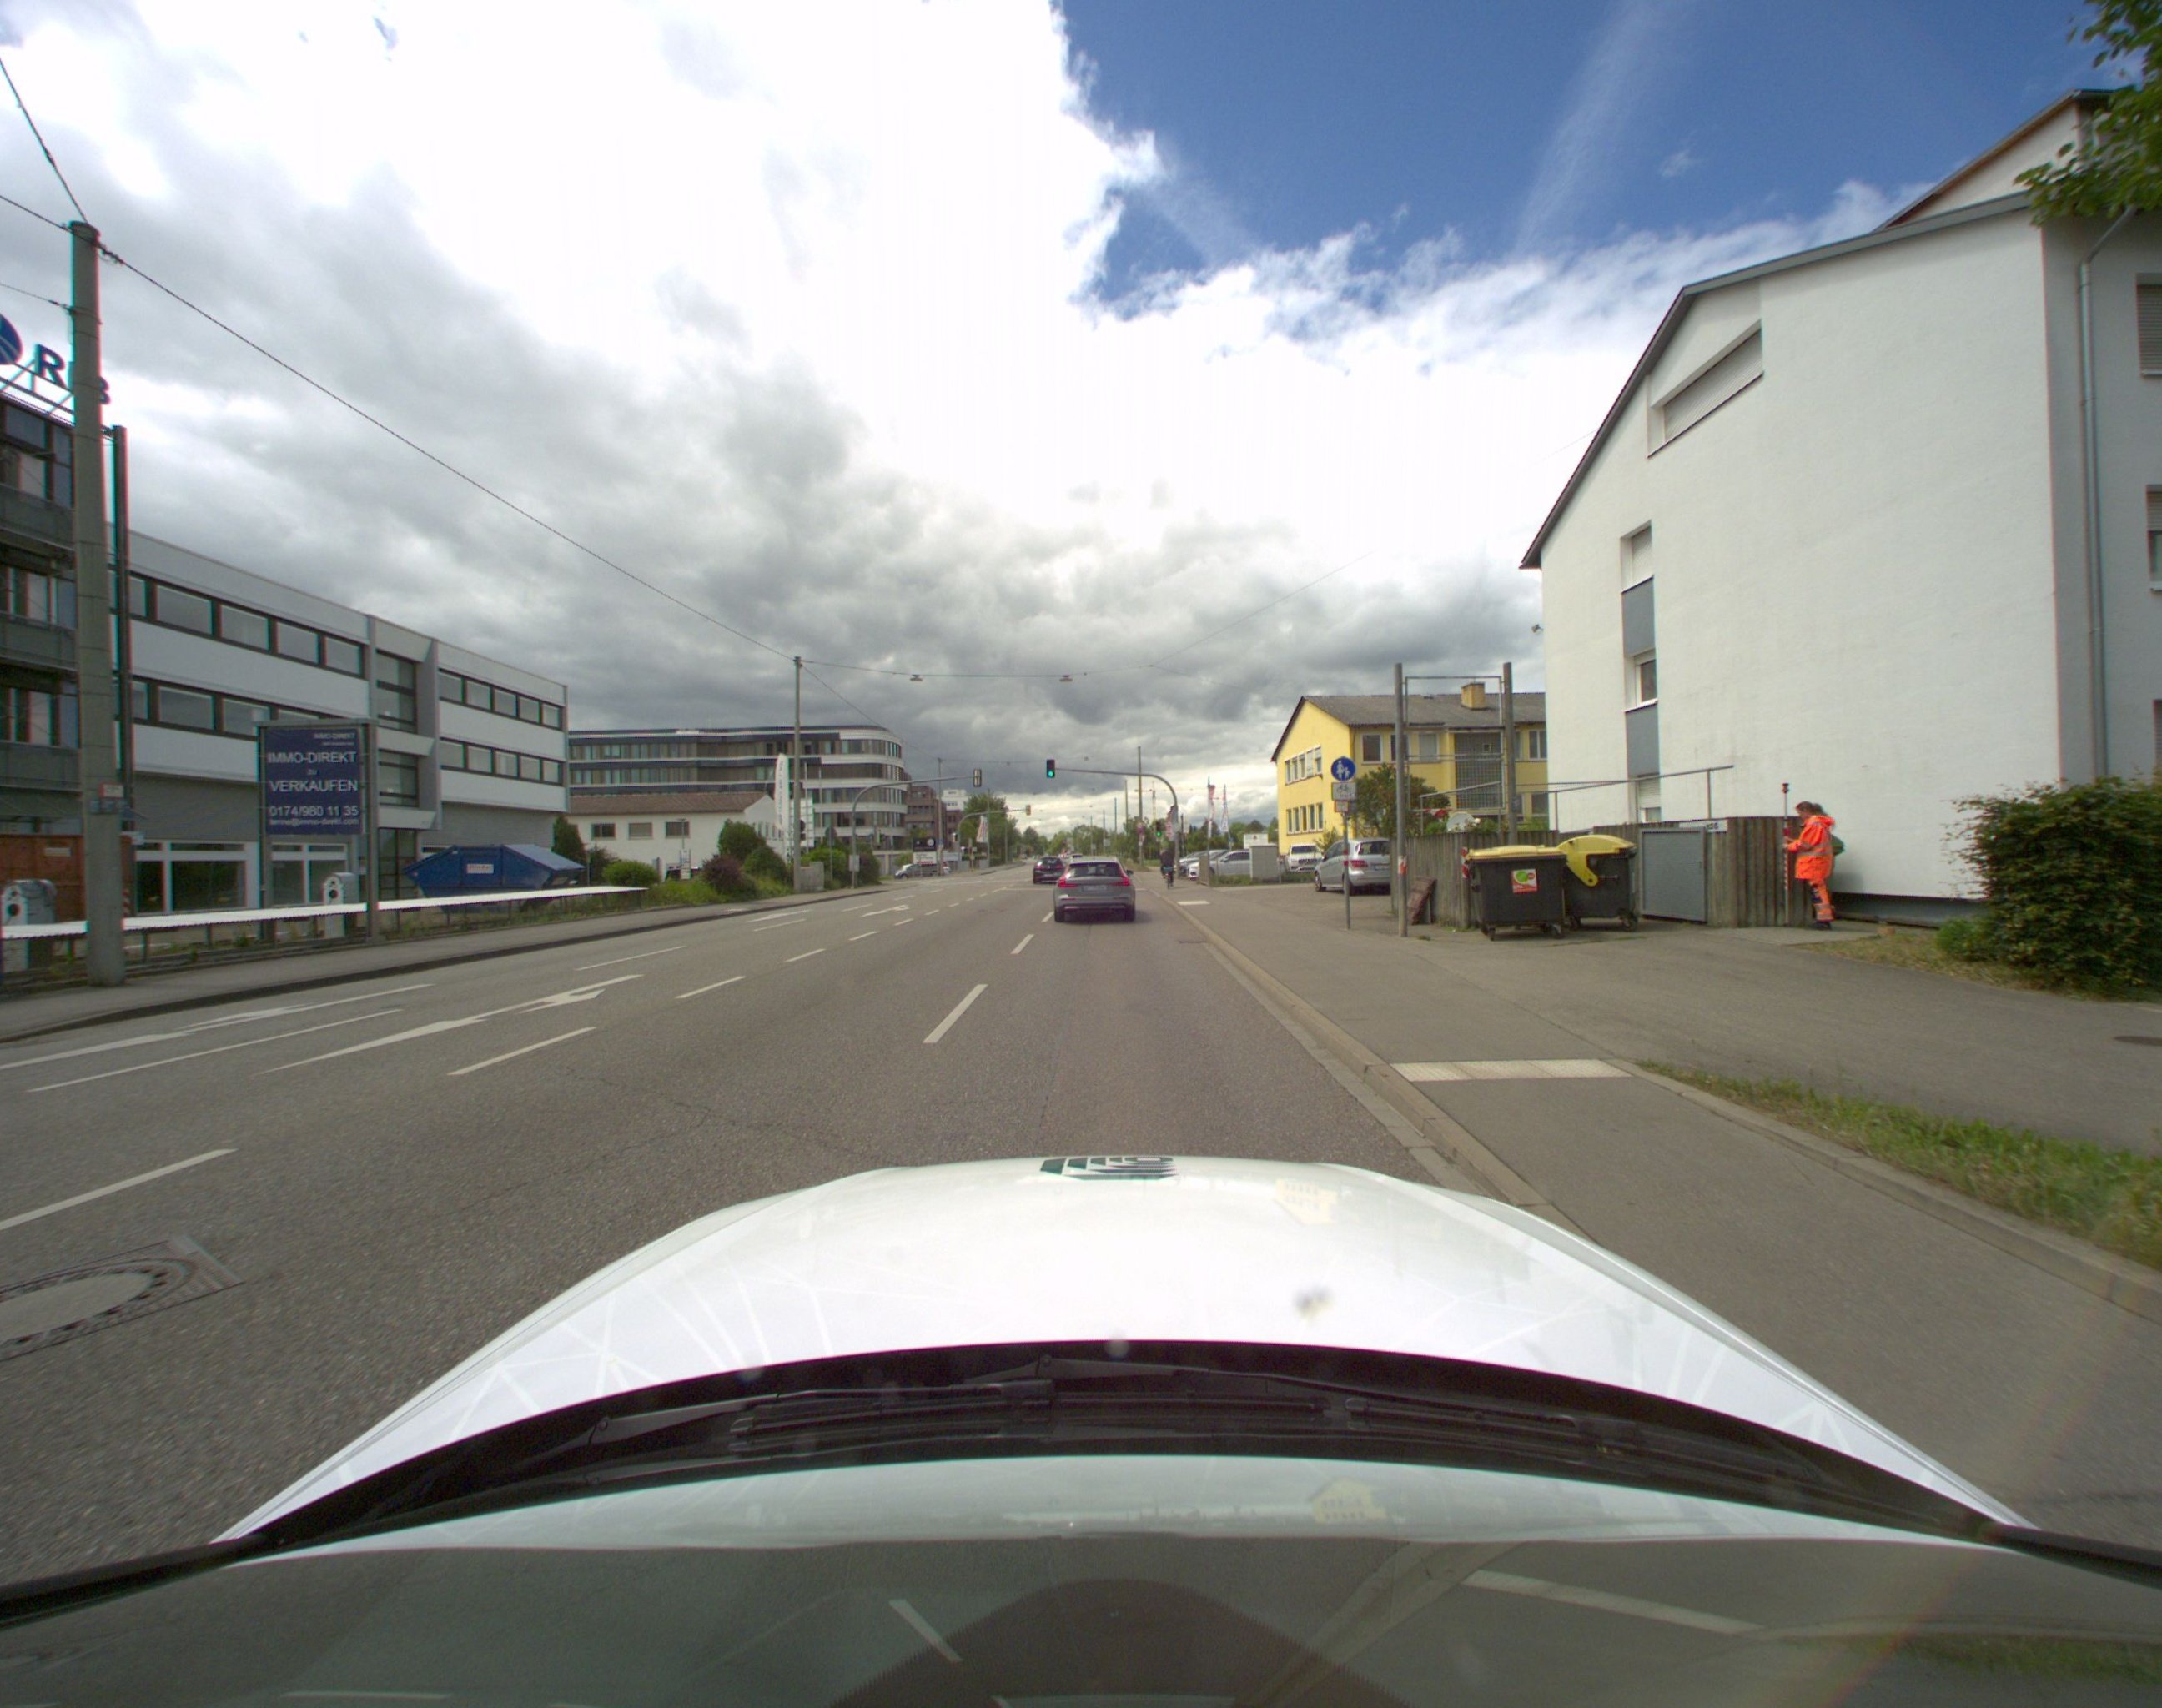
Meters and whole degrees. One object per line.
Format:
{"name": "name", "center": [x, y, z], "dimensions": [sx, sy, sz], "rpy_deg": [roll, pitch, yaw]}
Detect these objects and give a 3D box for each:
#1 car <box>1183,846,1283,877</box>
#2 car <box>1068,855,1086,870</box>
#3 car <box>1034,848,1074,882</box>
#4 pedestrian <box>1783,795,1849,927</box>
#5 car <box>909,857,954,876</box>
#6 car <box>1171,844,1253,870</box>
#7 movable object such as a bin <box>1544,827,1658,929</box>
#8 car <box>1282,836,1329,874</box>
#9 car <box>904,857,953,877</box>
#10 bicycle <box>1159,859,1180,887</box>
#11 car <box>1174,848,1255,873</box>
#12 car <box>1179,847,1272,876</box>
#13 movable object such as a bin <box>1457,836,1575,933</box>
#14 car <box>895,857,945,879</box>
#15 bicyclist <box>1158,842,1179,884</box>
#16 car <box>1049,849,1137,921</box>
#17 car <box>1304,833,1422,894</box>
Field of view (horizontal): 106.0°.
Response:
{"name": "car", "center": [7.635, 0.350, 41.231], "dimensions": [4.681, 1.493, 2.045], "rpy_deg": [-1, 1, 0]}
{"name": "car", "center": [-0.433, 1.015, 93.585], "dimensions": [1.987, 1.695, 4.000], "rpy_deg": [0, -1, 0]}
{"name": "car", "center": [-1.404, 0.578, 42.815], "dimensions": [1.988, 1.717, 3.998], "rpy_deg": [0, -1, -1]}
{"name": "pedestrian", "center": [10.102, 0.089, 11.202], "dimensions": [0.503, 1.765, 0.503], "rpy_deg": [0, -1, 17]}
{"name": "car", "center": [-14.675, 1.258, 80.019], "dimensions": [3.977, 1.369, 1.847], "rpy_deg": [-7, -1, -2]}
{"name": "car", "center": [7.946, 0.176, 49.864], "dimensions": [4.781, 1.480, 2.033], "rpy_deg": [0, 0, 2]}
{"name": "movable object such as a bin", "center": [7.952, 0.361, 12.438], "dimensions": [1.306, 1.435, 1.259], "rpy_deg": [-3, -2, 38]}
{"name": "car", "center": [11.965, 0.078, 43.700], "dimensions": [1.963, 1.821, 5.045], "rpy_deg": [-2, -1, 11]}
{"name": "car", "center": [-14.457, 1.214, 77.464], "dimensions": [4.217, 1.387, 1.981], "rpy_deg": [-7, -1, -5]}
{"name": "bicycle", "center": [3.668, 0.780, 33.776], "dimensions": [0.635, 1.063, 1.978], "rpy_deg": [-5, 0, 1]}
{"name": "car", "center": [7.670, 0.342, 46.977], "dimensions": [4.356, 1.404, 1.988], "rpy_deg": [0, 0, -1]}
{"name": "car", "center": [7.770, 0.392, 44.107], "dimensions": [4.643, 1.493, 2.035], "rpy_deg": [-1, 0, 0]}
{"name": "movable object such as a bin", "center": [6.444, 0.452, 12.178], "dimensions": [1.309, 1.361, 1.257], "rpy_deg": [-2, -1, 17]}
{"name": "car", "center": [-14.250, 1.261, 72.339], "dimensions": [4.089, 1.397, 1.904], "rpy_deg": [-7, 1, -7]}
{"name": "bicyclist", "center": [3.637, 0.369, 33.937], "dimensions": [0.636, 1.675, 0.890], "rpy_deg": [-5, 0, 1]}
{"name": "car", "center": [0.351, 0.706, 19.721], "dimensions": [1.888, 1.554, 4.002], "rpy_deg": [0, -1, 2]}
{"name": "car", "center": [8.158, 0.242, 24.009], "dimensions": [1.869, 1.545, 4.521], "rpy_deg": [-2, 0, 0]}
